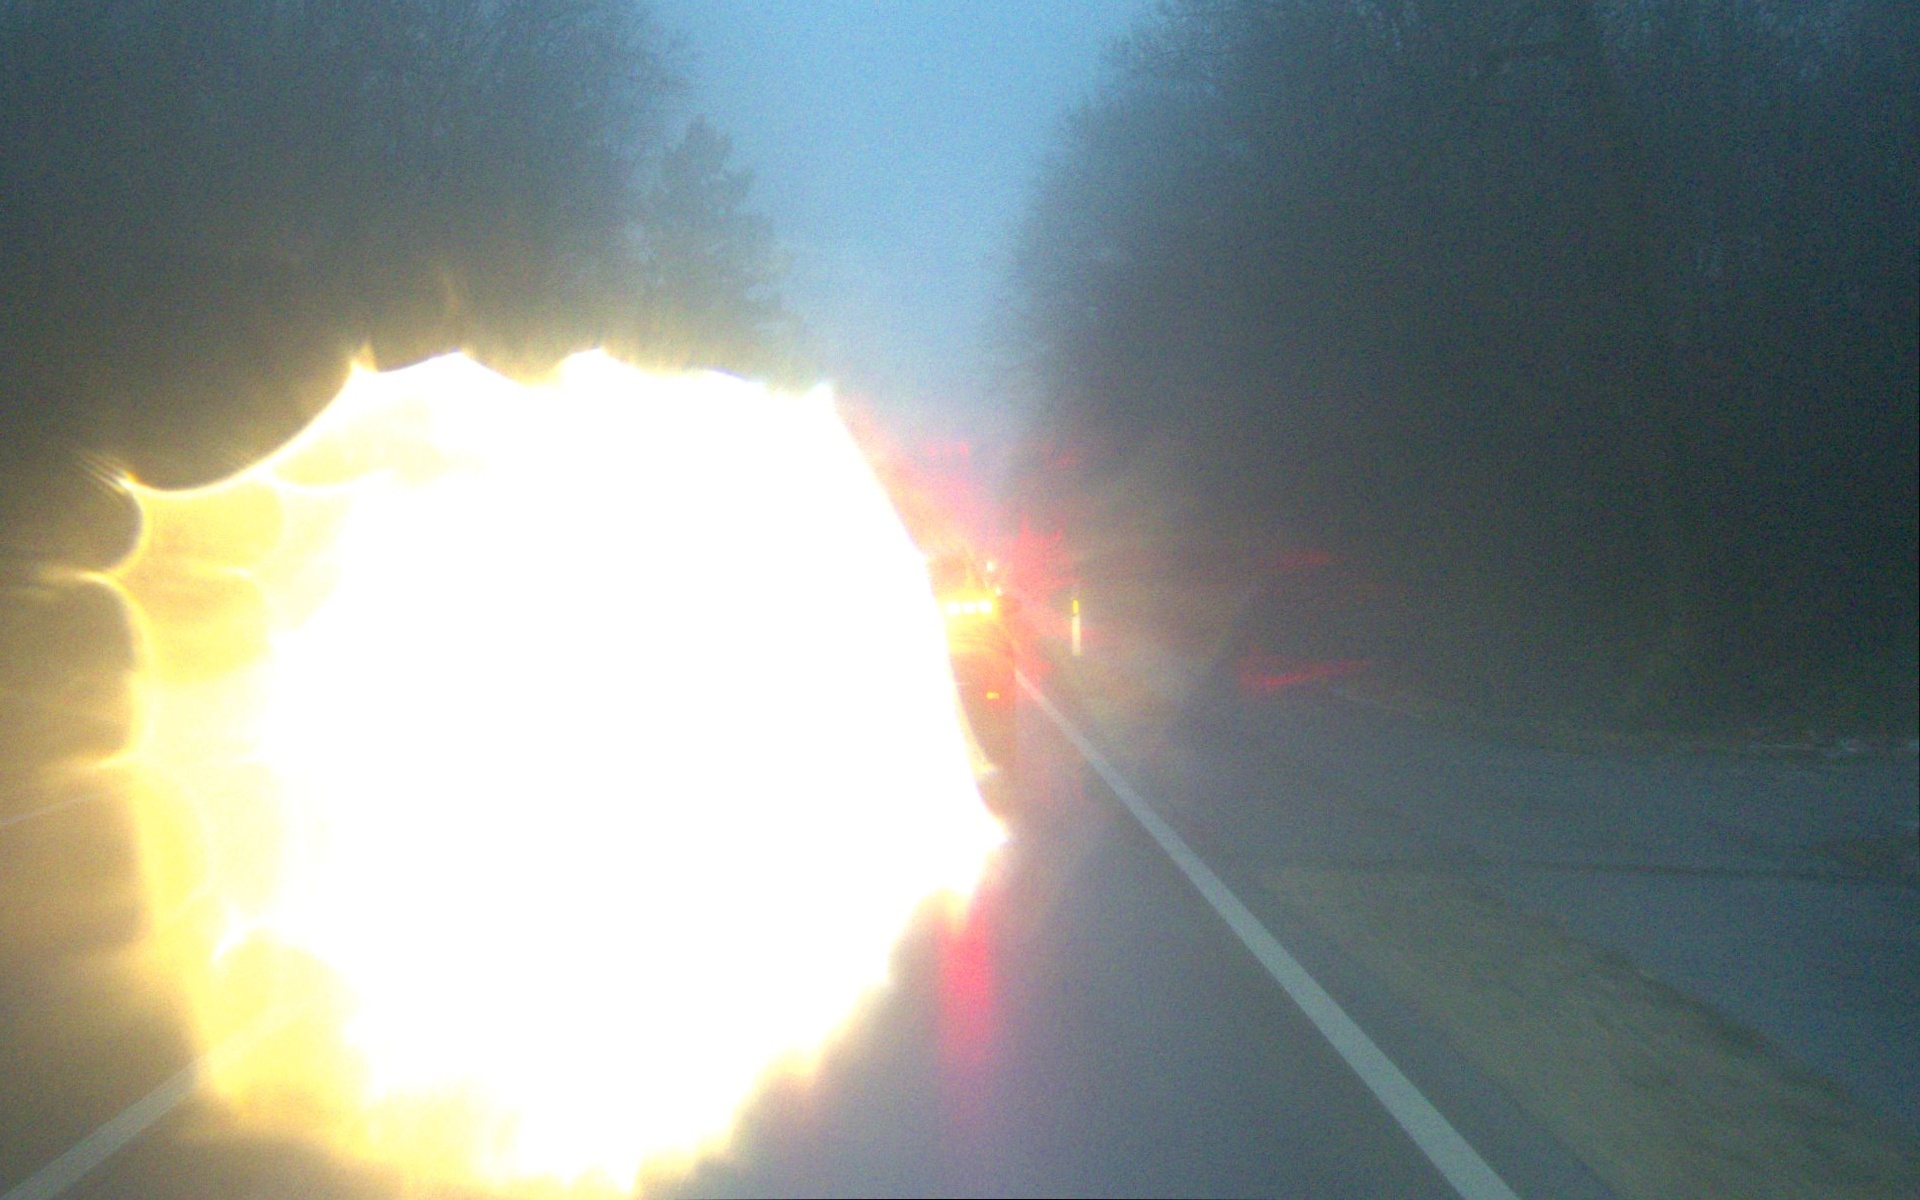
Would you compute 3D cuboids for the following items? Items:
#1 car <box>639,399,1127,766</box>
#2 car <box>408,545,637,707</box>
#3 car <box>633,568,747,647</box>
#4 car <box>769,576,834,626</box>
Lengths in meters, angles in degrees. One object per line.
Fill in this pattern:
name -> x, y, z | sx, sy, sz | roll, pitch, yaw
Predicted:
car -> -0.495, -0.146, 25.894 | 3.183, 2.378, 6.636 | 1, 1, 0
car -> -4.647, 0.223, 37.186 | 1.918, 1.603, 5.016 | -1, 1, -1
car -> -5.090, 0.114, 65.352 | 1.868, 1.418, 4.387 | 0, 1, -1
car -> -5.298, 0.013, 115.170 | 2.075, 1.610, 4.152 | -1, 0, -1
